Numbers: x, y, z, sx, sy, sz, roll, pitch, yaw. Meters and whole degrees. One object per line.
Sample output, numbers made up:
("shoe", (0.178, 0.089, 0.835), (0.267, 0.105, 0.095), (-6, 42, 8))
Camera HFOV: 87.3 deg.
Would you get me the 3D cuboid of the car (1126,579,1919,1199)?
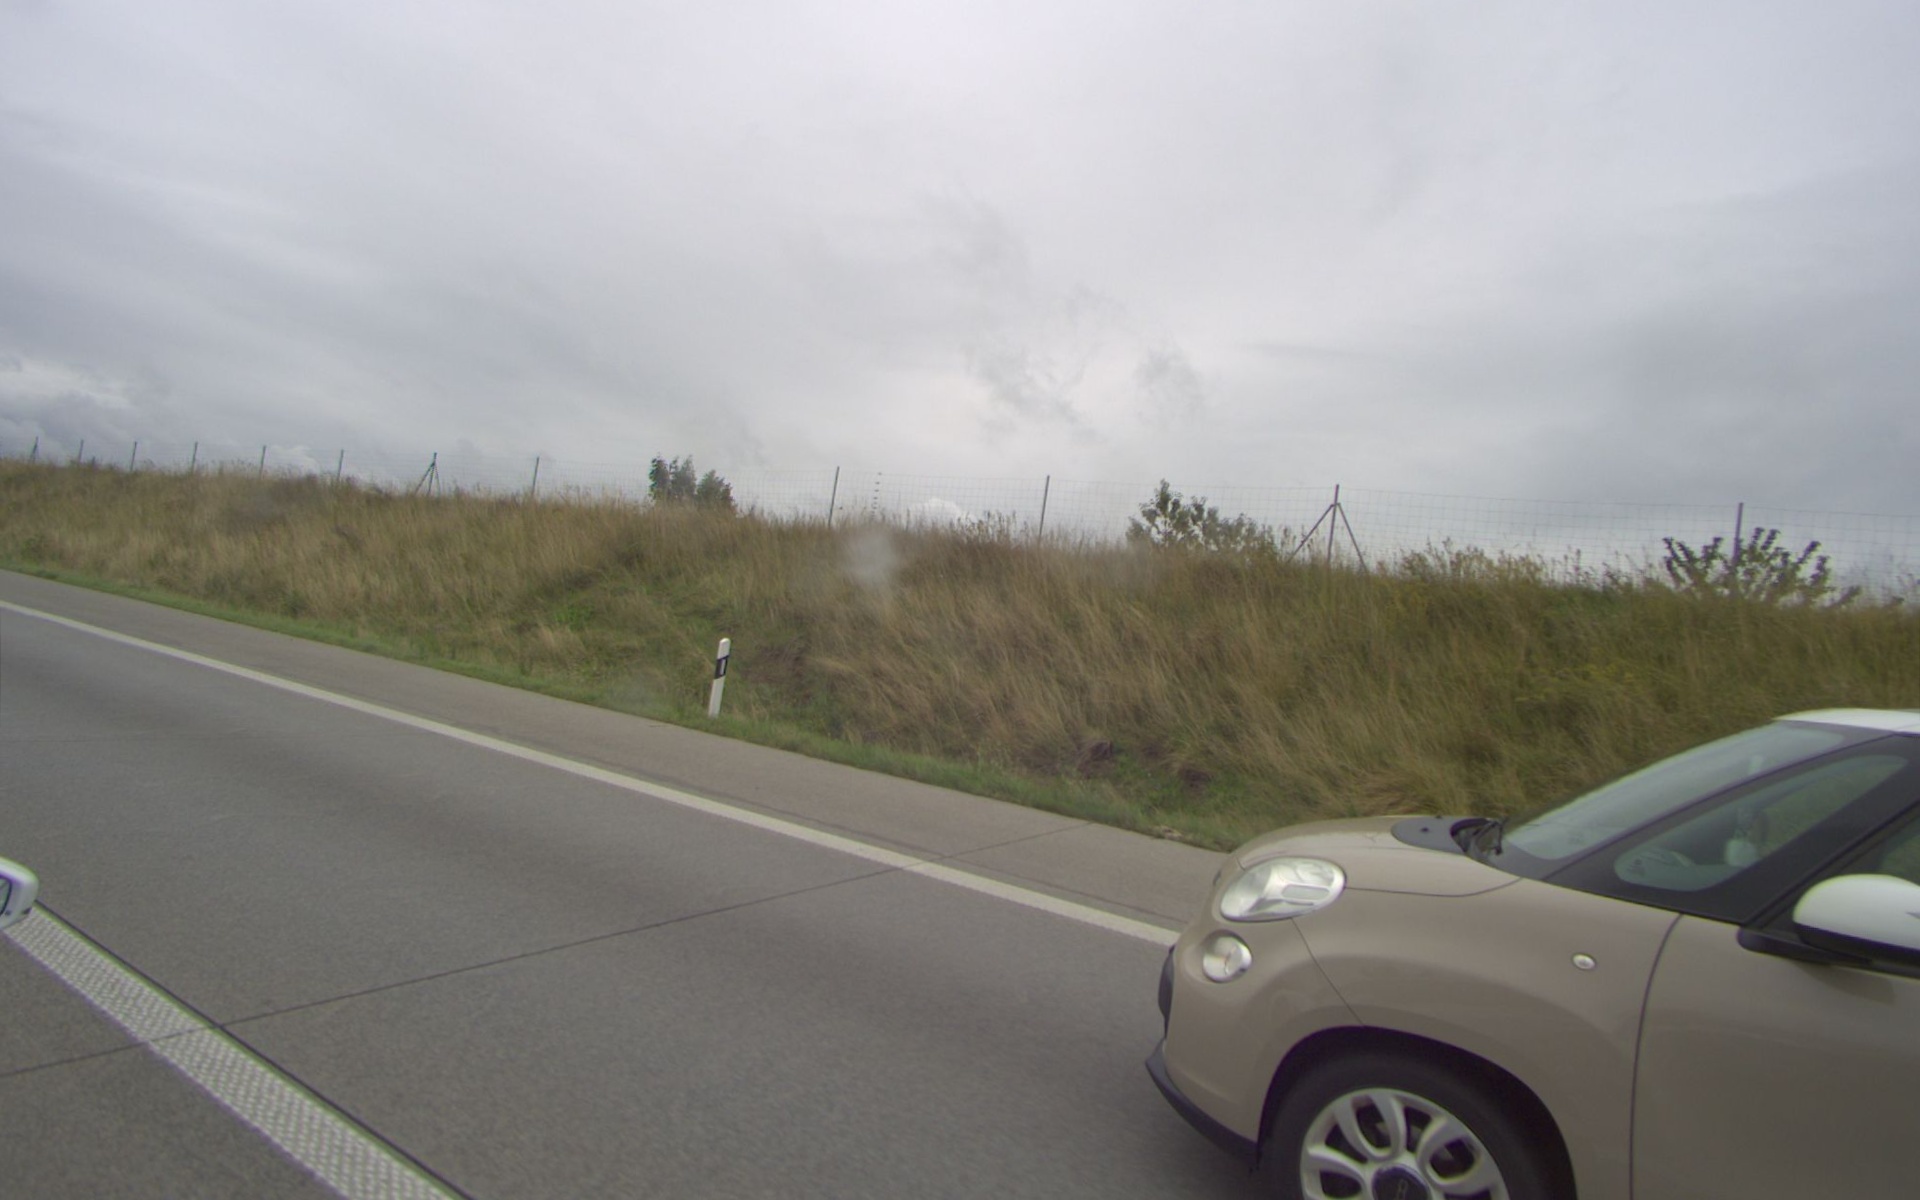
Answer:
("car", (2.898, 1.069, 2.267), (4.494, 1.623, 1.789), (7, -1, 31))
